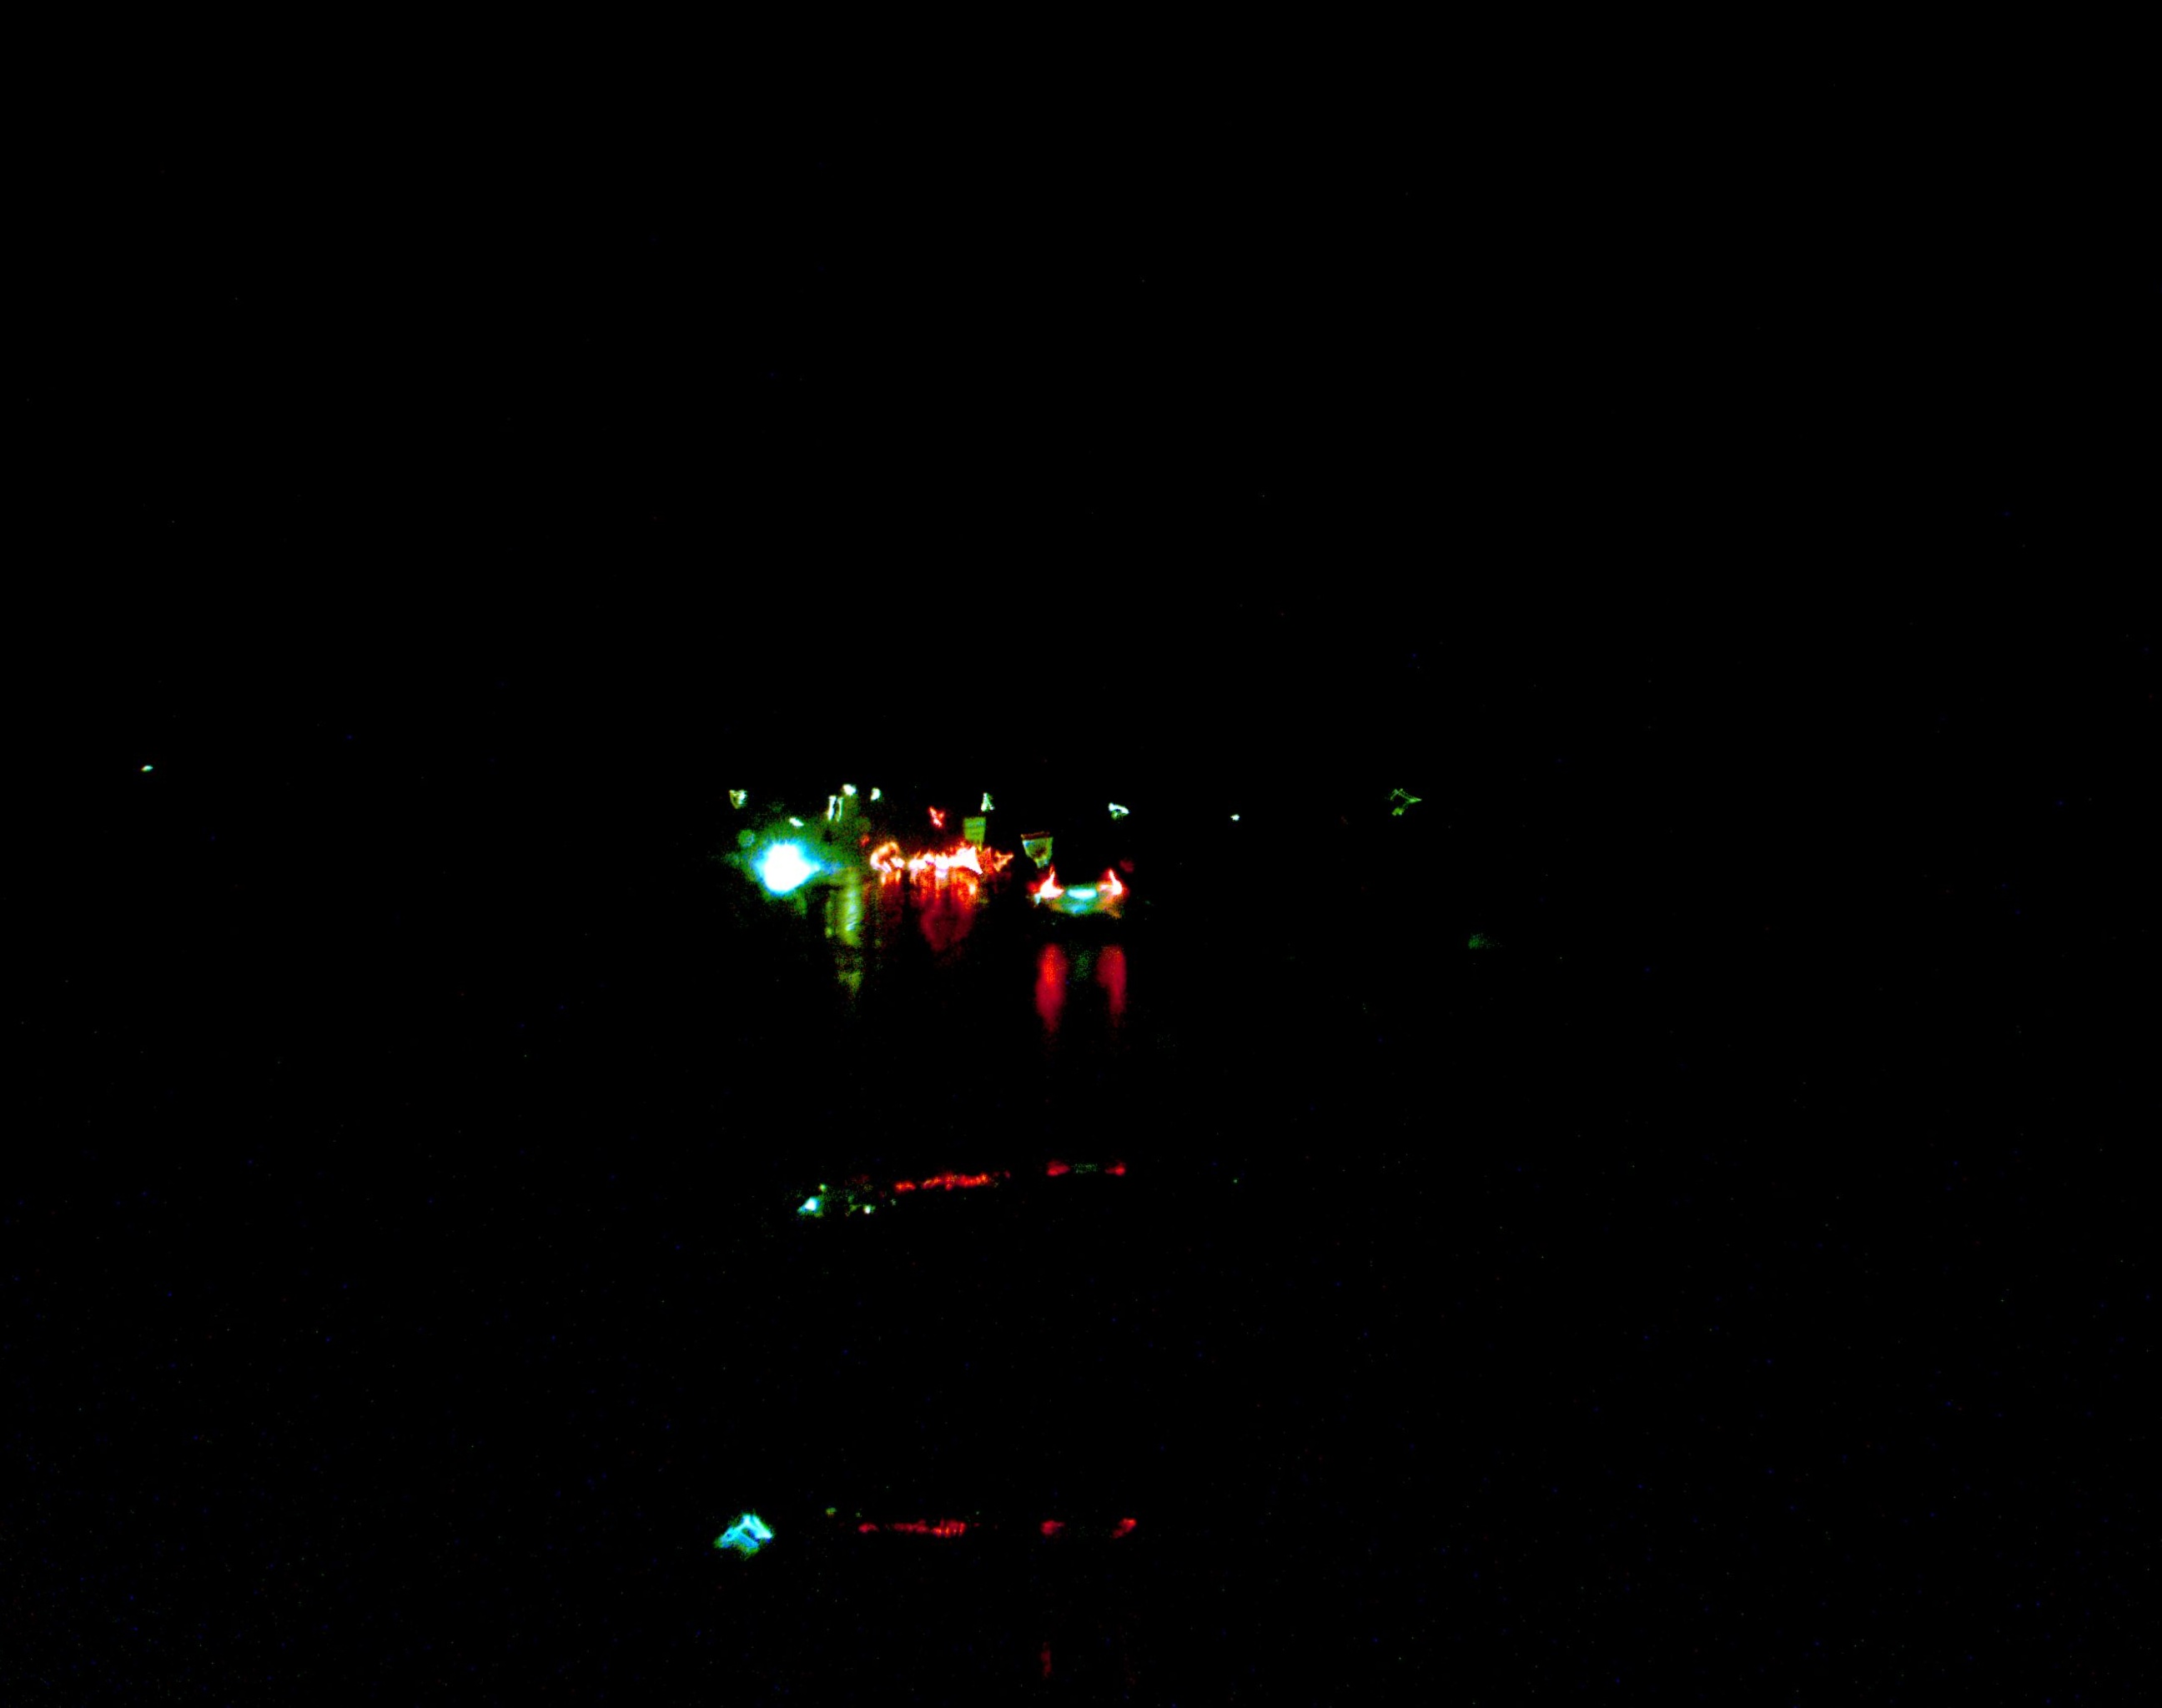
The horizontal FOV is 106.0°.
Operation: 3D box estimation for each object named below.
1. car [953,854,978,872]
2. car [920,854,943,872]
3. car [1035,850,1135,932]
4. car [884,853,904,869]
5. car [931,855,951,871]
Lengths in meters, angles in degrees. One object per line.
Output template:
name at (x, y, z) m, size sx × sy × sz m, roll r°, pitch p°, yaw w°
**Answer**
car at (-11.559, 0.906, 81.006) m, size 1.996 × 1.628 × 4.962 m, roll -3°, pitch 1°, yaw -13°
car at (-14.927, 0.873, 81.004) m, size 1.996 × 1.628 × 4.962 m, roll -3°, pitch 1°, yaw -13°
car at (0.106, 0.797, 18.730) m, size 1.987 × 1.628 × 4.984 m, roll 0°, pitch -1°, yaw 1°
car at (-20.944, 0.760, 91.296) m, size 1.996 × 1.628 × 4.962 m, roll -3°, pitch 1°, yaw -13°
car at (-16.525, 1.055, 95.927) m, size 1.996 × 1.628 × 4.962 m, roll -3°, pitch 1°, yaw -13°
